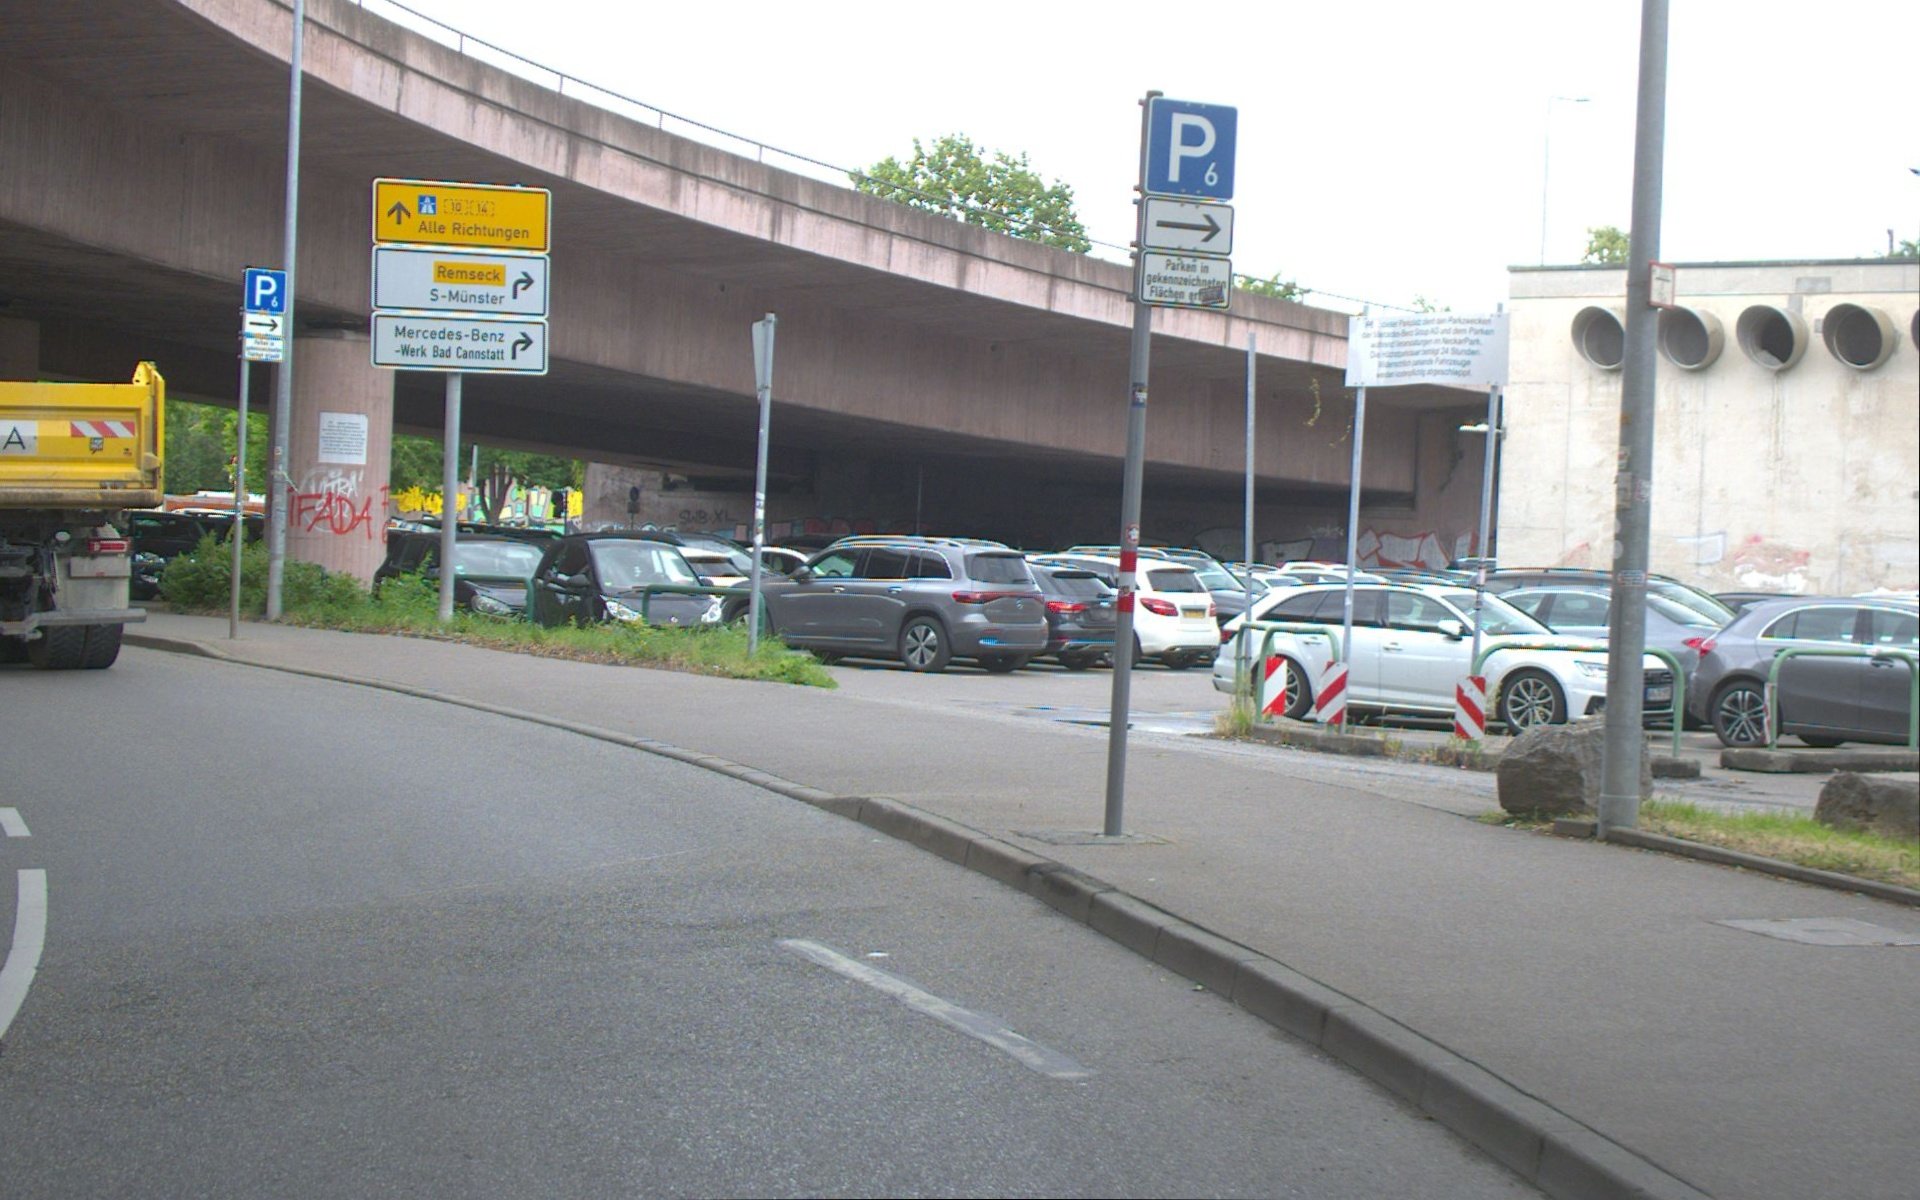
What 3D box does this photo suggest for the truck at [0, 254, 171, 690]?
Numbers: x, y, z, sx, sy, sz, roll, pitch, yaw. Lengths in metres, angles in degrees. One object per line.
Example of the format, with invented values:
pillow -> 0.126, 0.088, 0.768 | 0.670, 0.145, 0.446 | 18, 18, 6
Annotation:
truck -> -9.989, -1.182, 32.528 | 2.758, 3.685, 7.881 | -1, 2, -30

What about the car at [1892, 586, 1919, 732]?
car -> 12.025, 0.709, 34.999 | 4.497, 1.508, 1.835 | 3, 1, 40

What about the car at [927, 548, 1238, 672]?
car -> 1.710, 0.125, 48.612 | 4.083, 1.551, 1.753 | 3, 1, 37

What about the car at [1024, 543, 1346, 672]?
car -> 3.268, 0.090, 50.457 | 4.427, 1.685, 1.753 | 3, 1, 37

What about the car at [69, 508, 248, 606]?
car -> -13.406, -0.713, 57.355 | 1.785, 1.501, 3.859 | 3, -1, -30

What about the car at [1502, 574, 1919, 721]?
car -> 8.835, 0.525, 39.991 | 4.616, 1.439, 1.854 | 3, 1, 37

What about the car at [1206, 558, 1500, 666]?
car -> 6.151, 0.172, 54.056 | 4.256, 1.504, 1.705 | 3, 1, 37

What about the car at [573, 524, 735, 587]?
car -> -7.965, -1.166, 89.471 | 3.856, 1.473, 1.755 | 3, 1, 30

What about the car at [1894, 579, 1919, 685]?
car -> 15.781, 0.549, 49.689 | 3.972, 1.527, 1.765 | 3, 1, 37

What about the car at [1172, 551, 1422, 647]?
car -> 6.191, -0.028, 63.300 | 4.187, 1.587, 1.834 | 3, 1, 37

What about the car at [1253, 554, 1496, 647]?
car -> 7.873, -0.001, 65.497 | 4.187, 1.587, 1.834 | 3, 1, 37

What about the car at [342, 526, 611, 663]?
car -> -5.875, -0.095, 41.359 | 1.729, 1.474, 4.250 | 2, 1, -29

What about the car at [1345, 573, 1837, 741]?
car -> 6.539, 0.561, 35.898 | 4.682, 1.470, 1.854 | 3, 1, 37

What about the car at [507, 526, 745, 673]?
car -> -3.660, -0.022, 37.383 | 1.539, 1.474, 2.761 | 2, 1, -29

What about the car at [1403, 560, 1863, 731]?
car -> 7.425, 0.471, 38.180 | 4.616, 1.622, 1.854 | 3, 1, 37

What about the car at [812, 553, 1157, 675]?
car -> 0.299, 0.170, 46.455 | 4.454, 1.444, 1.753 | 3, 1, 37

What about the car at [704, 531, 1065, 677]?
car -> -1.008, 0.034, 44.280 | 4.465, 1.669, 1.742 | 3, 1, 37

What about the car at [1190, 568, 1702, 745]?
car -> 4.740, 0.518, 33.969 | 4.683, 1.470, 1.854 | 3, 1, 40

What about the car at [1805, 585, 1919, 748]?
car -> 10.566, 0.713, 32.721 | 4.497, 1.508, 1.835 | 3, 1, 40

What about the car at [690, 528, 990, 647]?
car -> -1.813, -0.191, 51.145 | 4.187, 1.587, 1.834 | 3, 1, 37

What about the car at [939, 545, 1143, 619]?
car -> 1.780, -0.400, 76.362 | 4.187, 1.460, 1.834 | 3, 1, 37

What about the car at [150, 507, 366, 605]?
car -> -13.218, -0.831, 64.700 | 3.858, 1.692, 1.834 | 3, 1, 37

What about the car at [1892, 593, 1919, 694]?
car -> 15.098, 0.686, 47.289 | 3.972, 1.388, 1.765 | 3, 1, 37

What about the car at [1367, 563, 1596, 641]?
car -> 10.586, 0.040, 69.871 | 4.187, 1.404, 1.834 | 3, 1, 37

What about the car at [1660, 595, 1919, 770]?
car -> 8.729, 0.764, 30.752 | 4.438, 1.420, 1.835 | 3, 1, 40

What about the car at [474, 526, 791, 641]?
car -> -4.559, -0.235, 47.598 | 4.187, 1.416, 1.834 | 3, 1, 37
